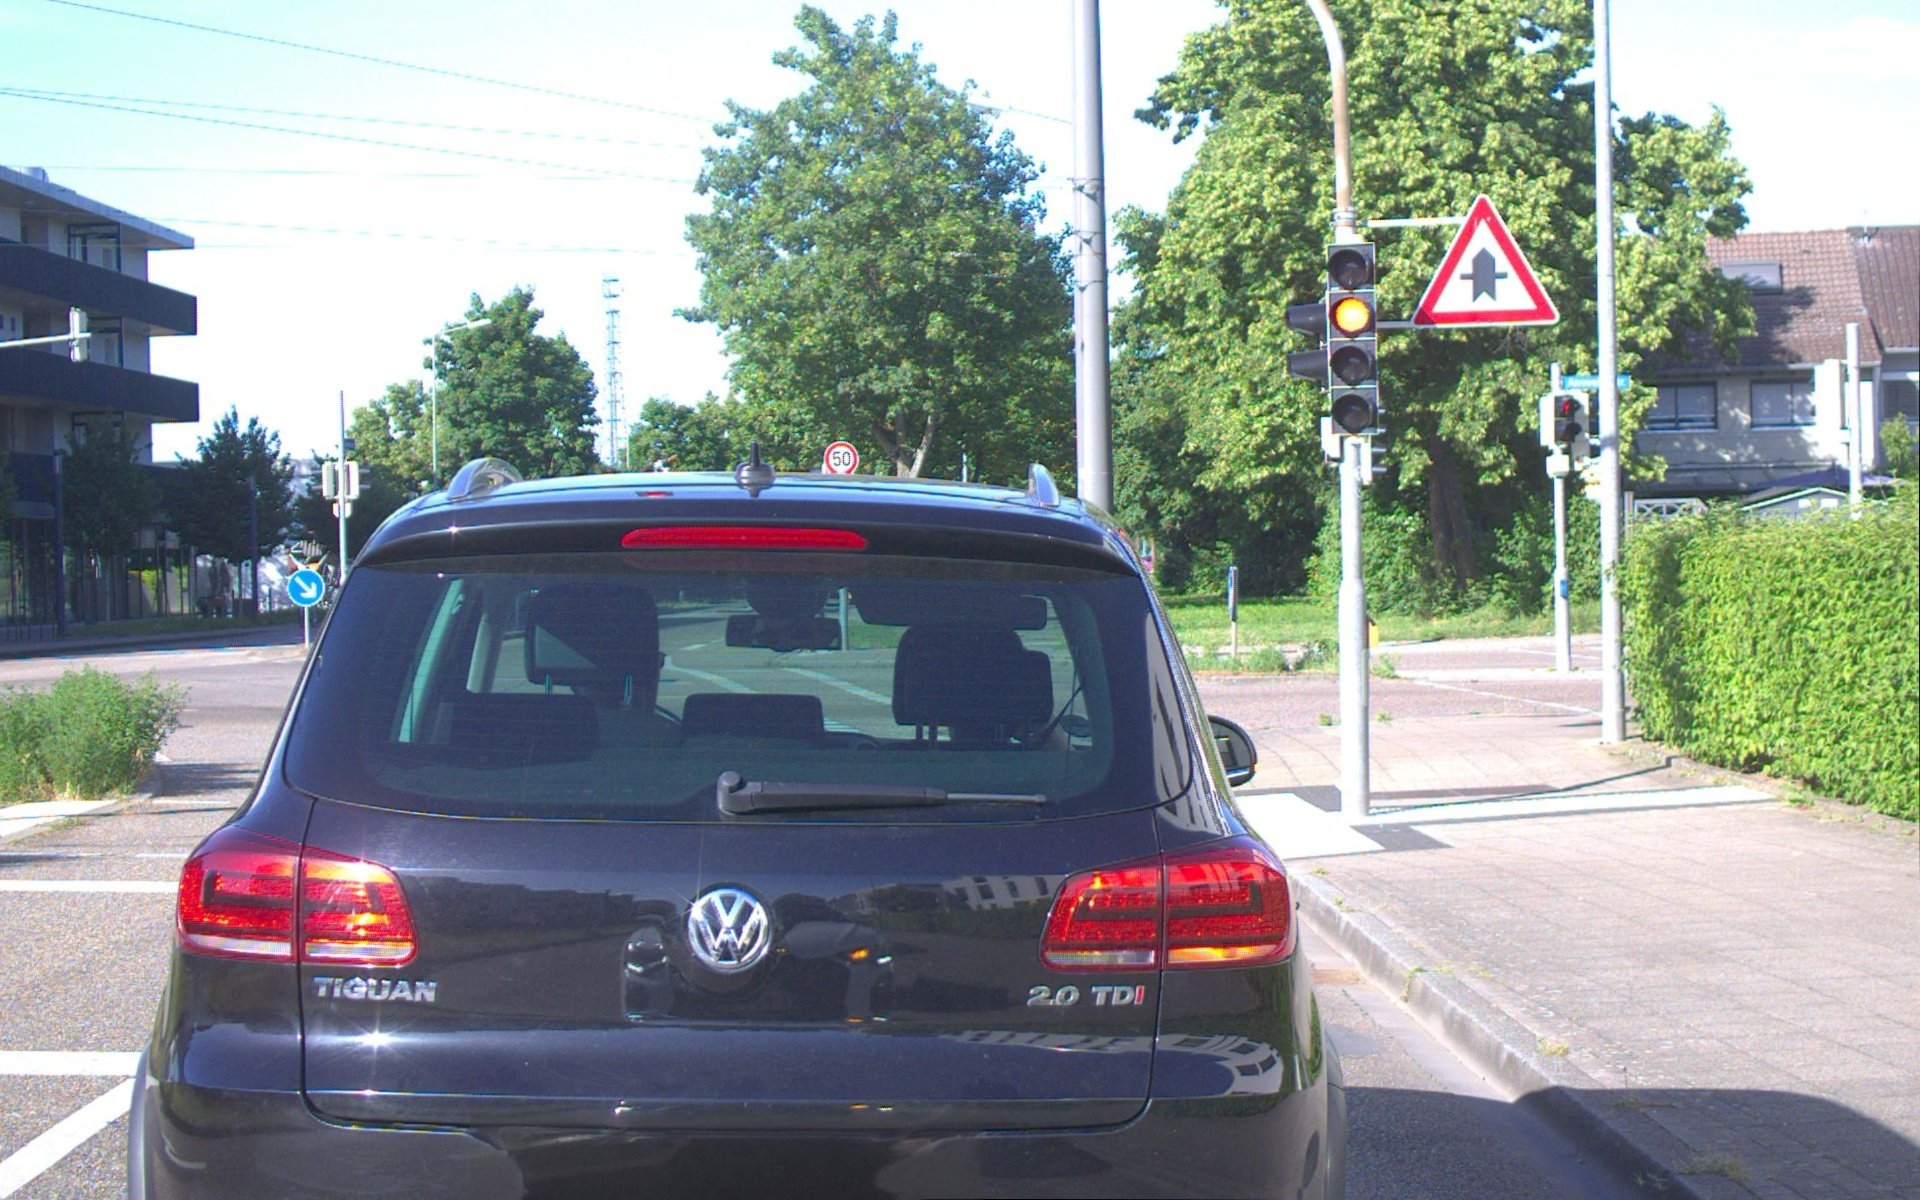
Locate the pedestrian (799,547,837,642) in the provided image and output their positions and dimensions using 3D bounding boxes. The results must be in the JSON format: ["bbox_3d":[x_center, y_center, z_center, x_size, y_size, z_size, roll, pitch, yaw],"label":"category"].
[{"bbox_3d":[-2.467,-0.104,59.773,0.603,1.634,0.529,0,1,4],"label":"pedestrian"}]

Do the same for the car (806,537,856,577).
[{"bbox_3d":[-4.609,-1.546,122.942,1.751,1.382,4.000,0,1,-2],"label":"car"}]

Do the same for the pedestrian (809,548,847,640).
[{"bbox_3d":[-2.267,-0.106,59.069,0.603,1.559,0.529,0,1,4],"label":"pedestrian"}]

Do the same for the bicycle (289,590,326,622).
[{"bbox_3d":[-18.080,0.157,95.275,0.496,0.845,2.078,0,1,3],"label":"bicycle"}]

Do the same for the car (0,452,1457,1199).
[{"bbox_3d":[-0.372,0.597,6.479,1.905,1.637,4.000,0,1,-2],"label":"car"}]
